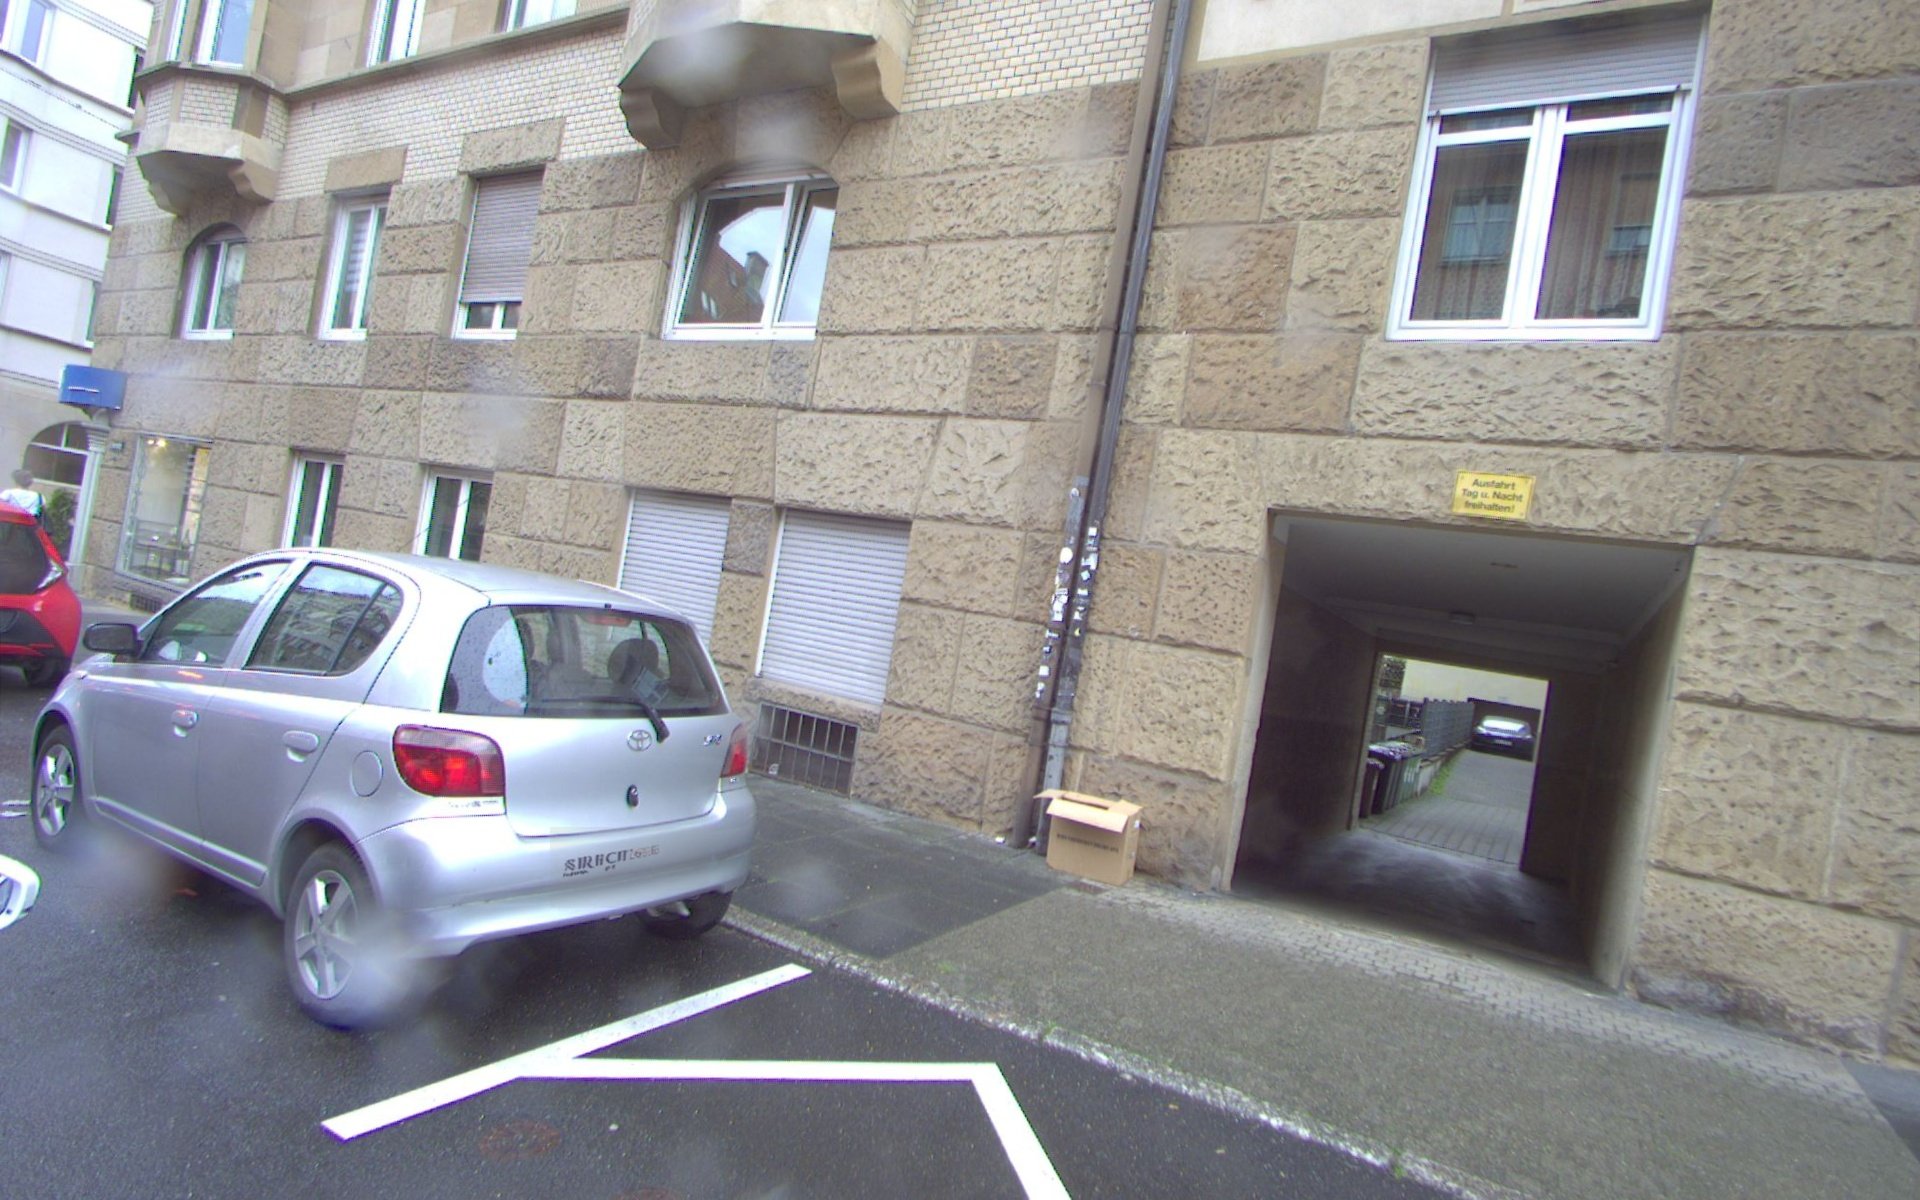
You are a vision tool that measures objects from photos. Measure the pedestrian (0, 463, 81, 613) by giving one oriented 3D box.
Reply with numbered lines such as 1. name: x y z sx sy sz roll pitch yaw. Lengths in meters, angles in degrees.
1. pedestrian: -12.026 -0.799 12.857 1.093 1.768 0.743 6 -1 32

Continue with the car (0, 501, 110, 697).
1. car: -8.737 -0.198 8.182 3.243 1.464 1.646 7 -2 29

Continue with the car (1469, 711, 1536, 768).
1. car: 18.339 4.673 33.947 1.693 1.538 4.102 7 -3 31

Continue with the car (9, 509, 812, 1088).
1. car: -2.488 0.549 4.404 3.258 1.485 1.616 7 0 33
